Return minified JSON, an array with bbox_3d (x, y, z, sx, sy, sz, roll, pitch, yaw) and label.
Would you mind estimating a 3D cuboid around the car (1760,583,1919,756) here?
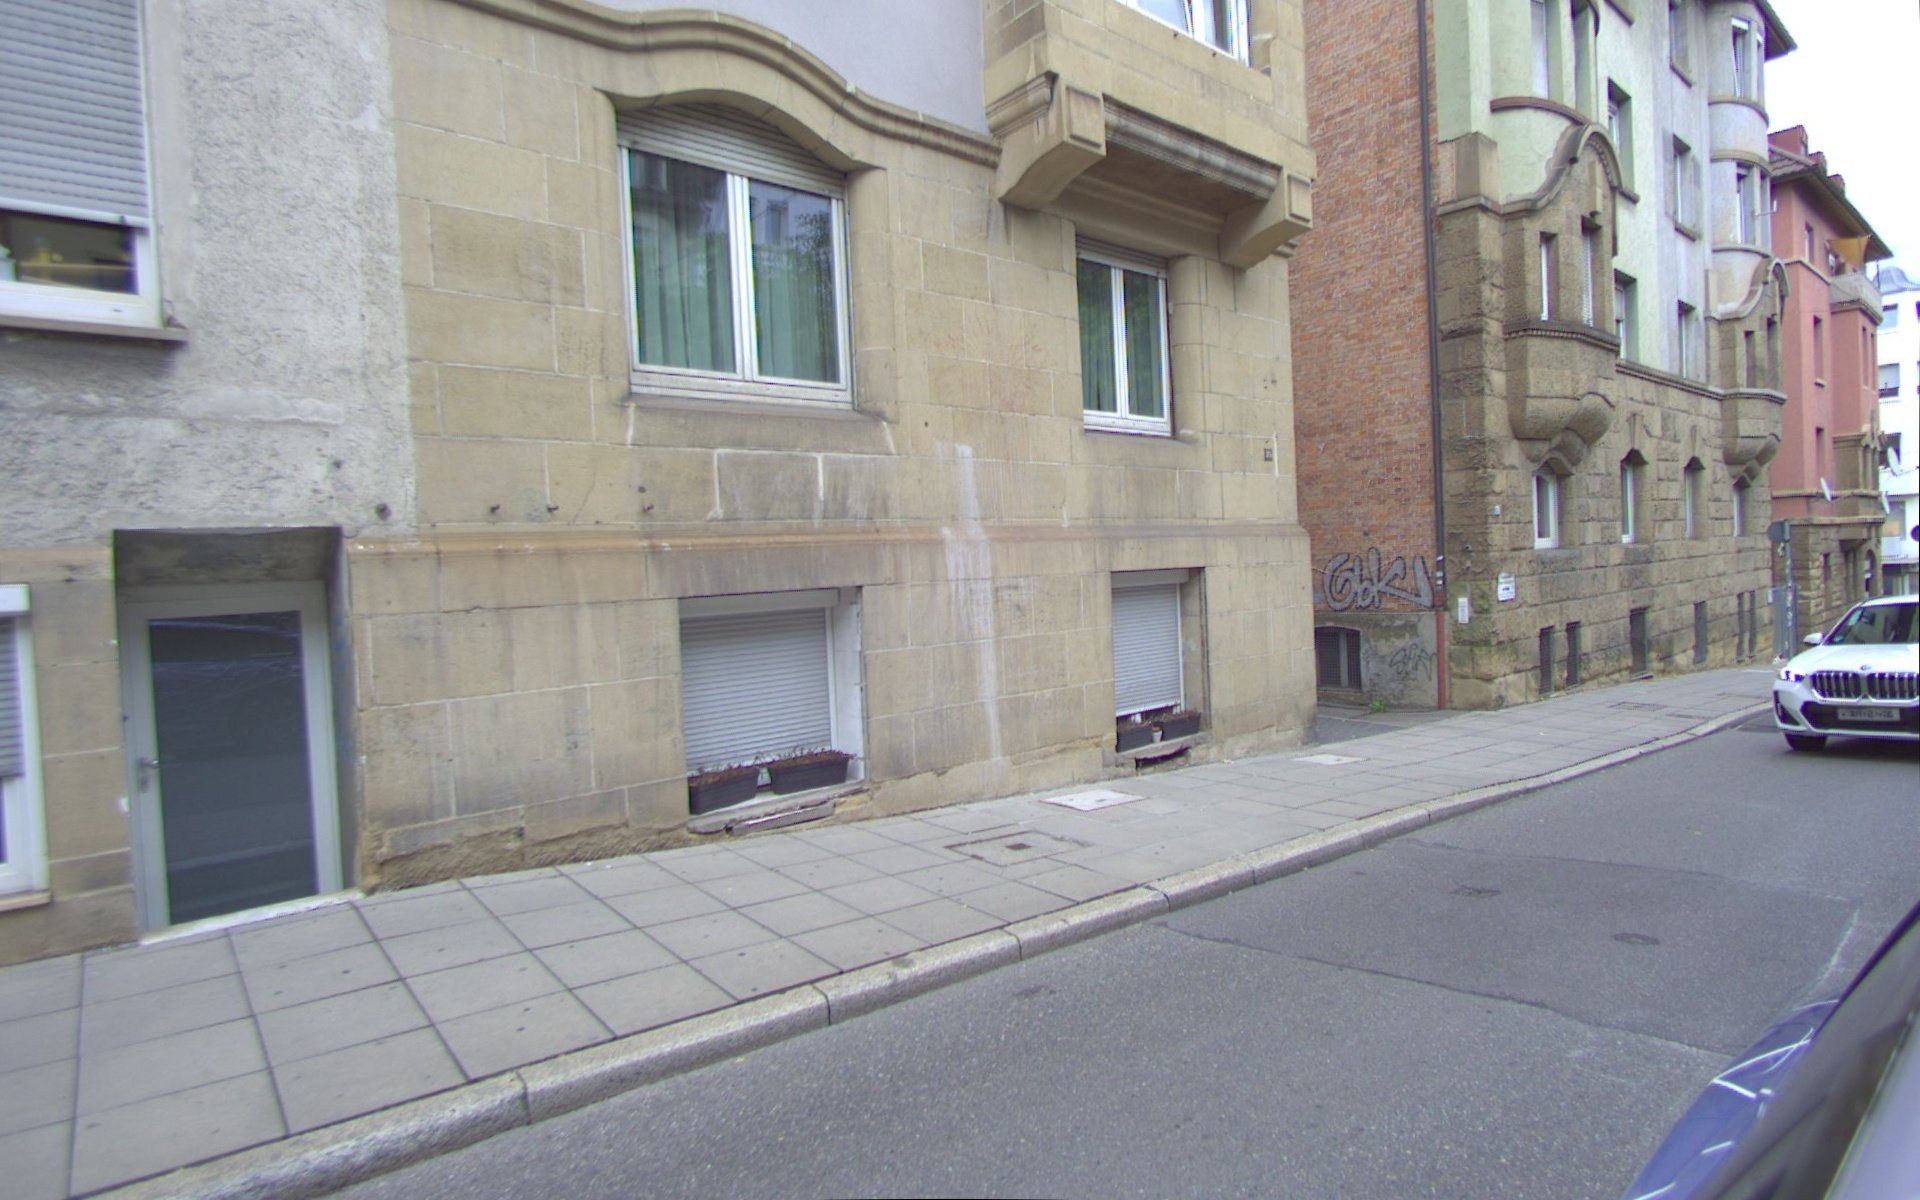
[{"bbox_3d":[10.765,0.614,10.893,4.473,1.625,1.856,-2,-2,-31],"label":"car"}]
